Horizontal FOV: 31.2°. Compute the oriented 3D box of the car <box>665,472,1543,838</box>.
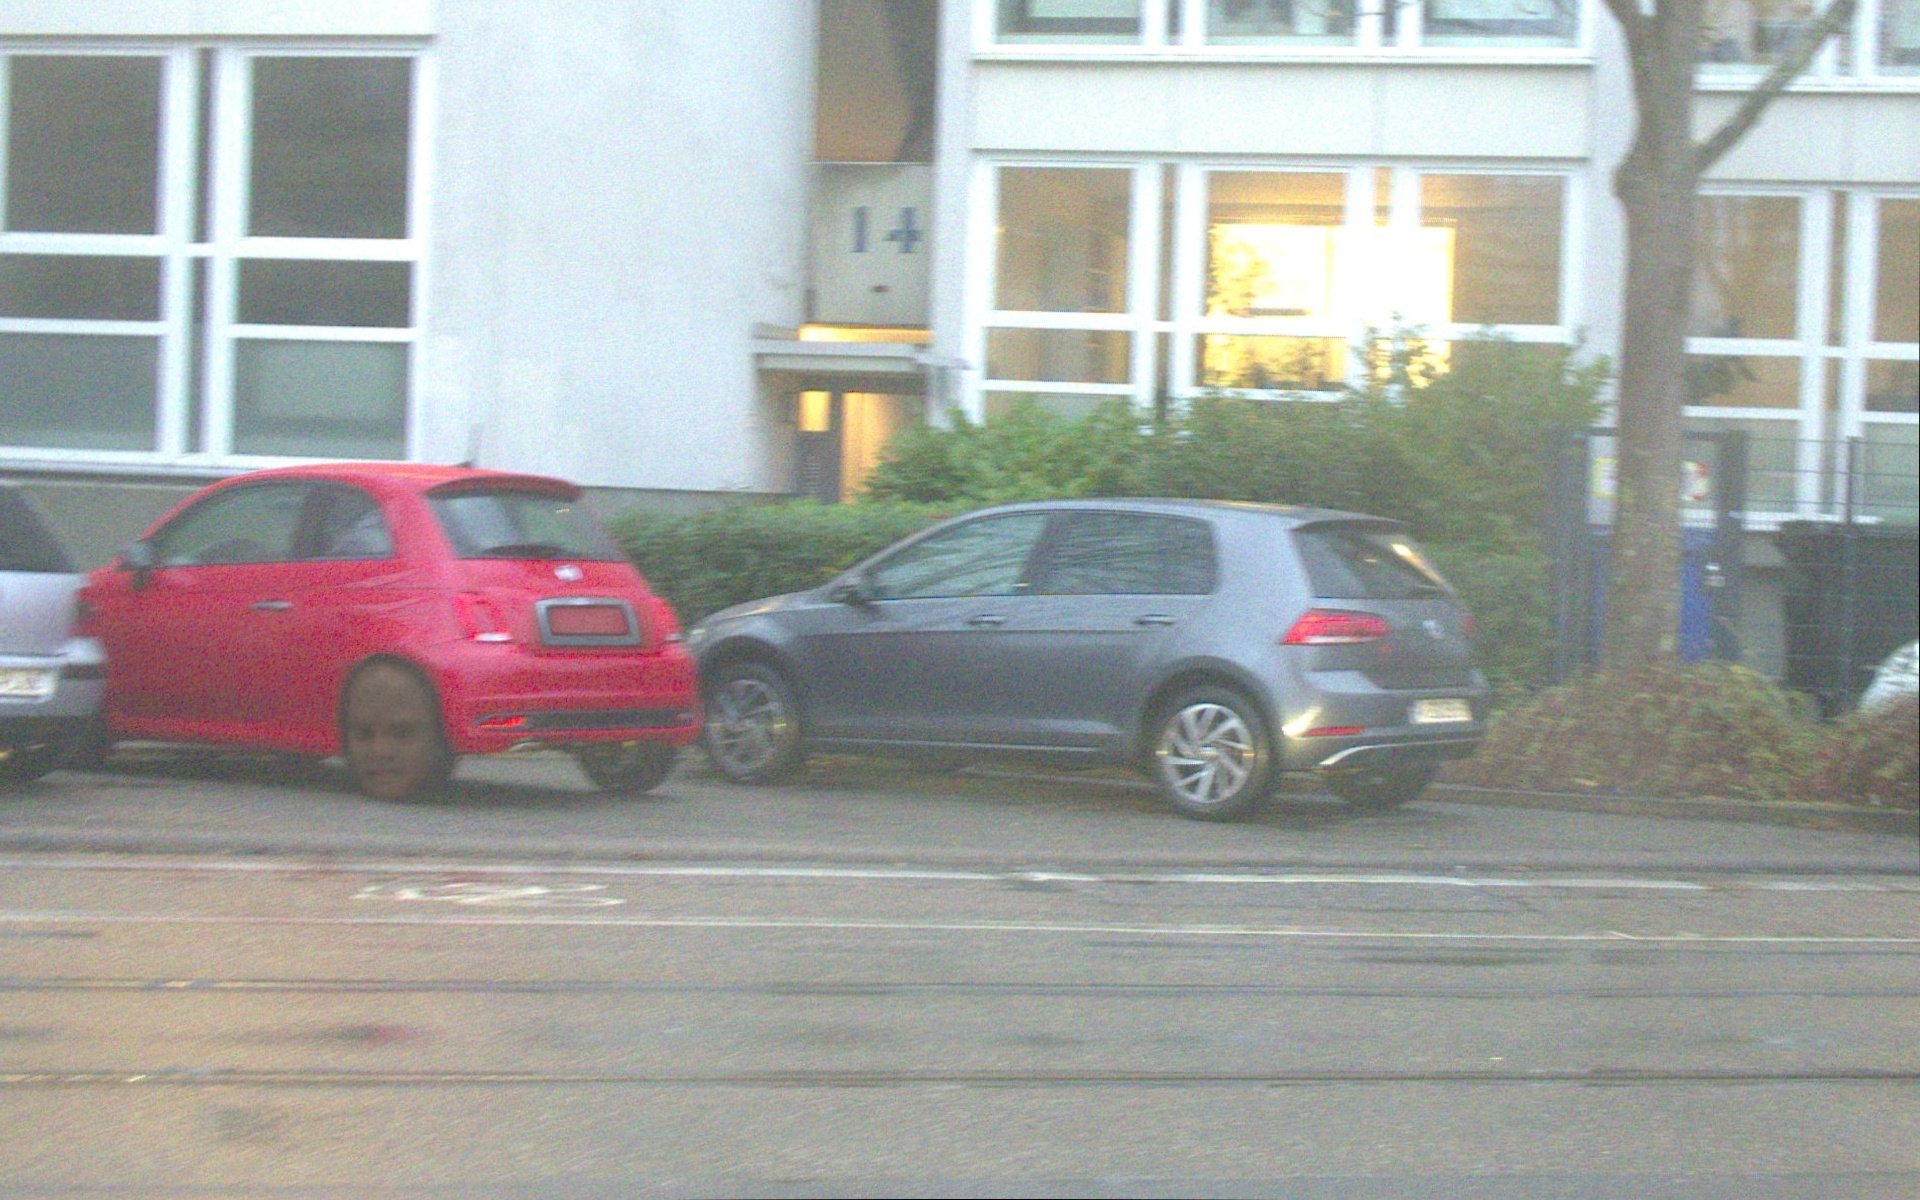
[{"bbox_3d":[0.641,0.192,16.480,3.849,1.487,1.693,3,2,34],"label":"car"}]

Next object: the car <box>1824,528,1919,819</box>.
[{"bbox_3d":[6.805,0.458,18.349,3.871,1.546,1.690,3,2,33],"label":"car"}]

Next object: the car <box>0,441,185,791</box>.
[{"bbox_3d":[-5.566,-0.018,15.281,3.994,1.441,1.790,3,2,32],"label":"car"}]

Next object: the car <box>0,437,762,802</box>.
[{"bbox_3d":[-2.835,0.031,16.128,3.447,1.487,1.726,3,2,36],"label":"car"}]
